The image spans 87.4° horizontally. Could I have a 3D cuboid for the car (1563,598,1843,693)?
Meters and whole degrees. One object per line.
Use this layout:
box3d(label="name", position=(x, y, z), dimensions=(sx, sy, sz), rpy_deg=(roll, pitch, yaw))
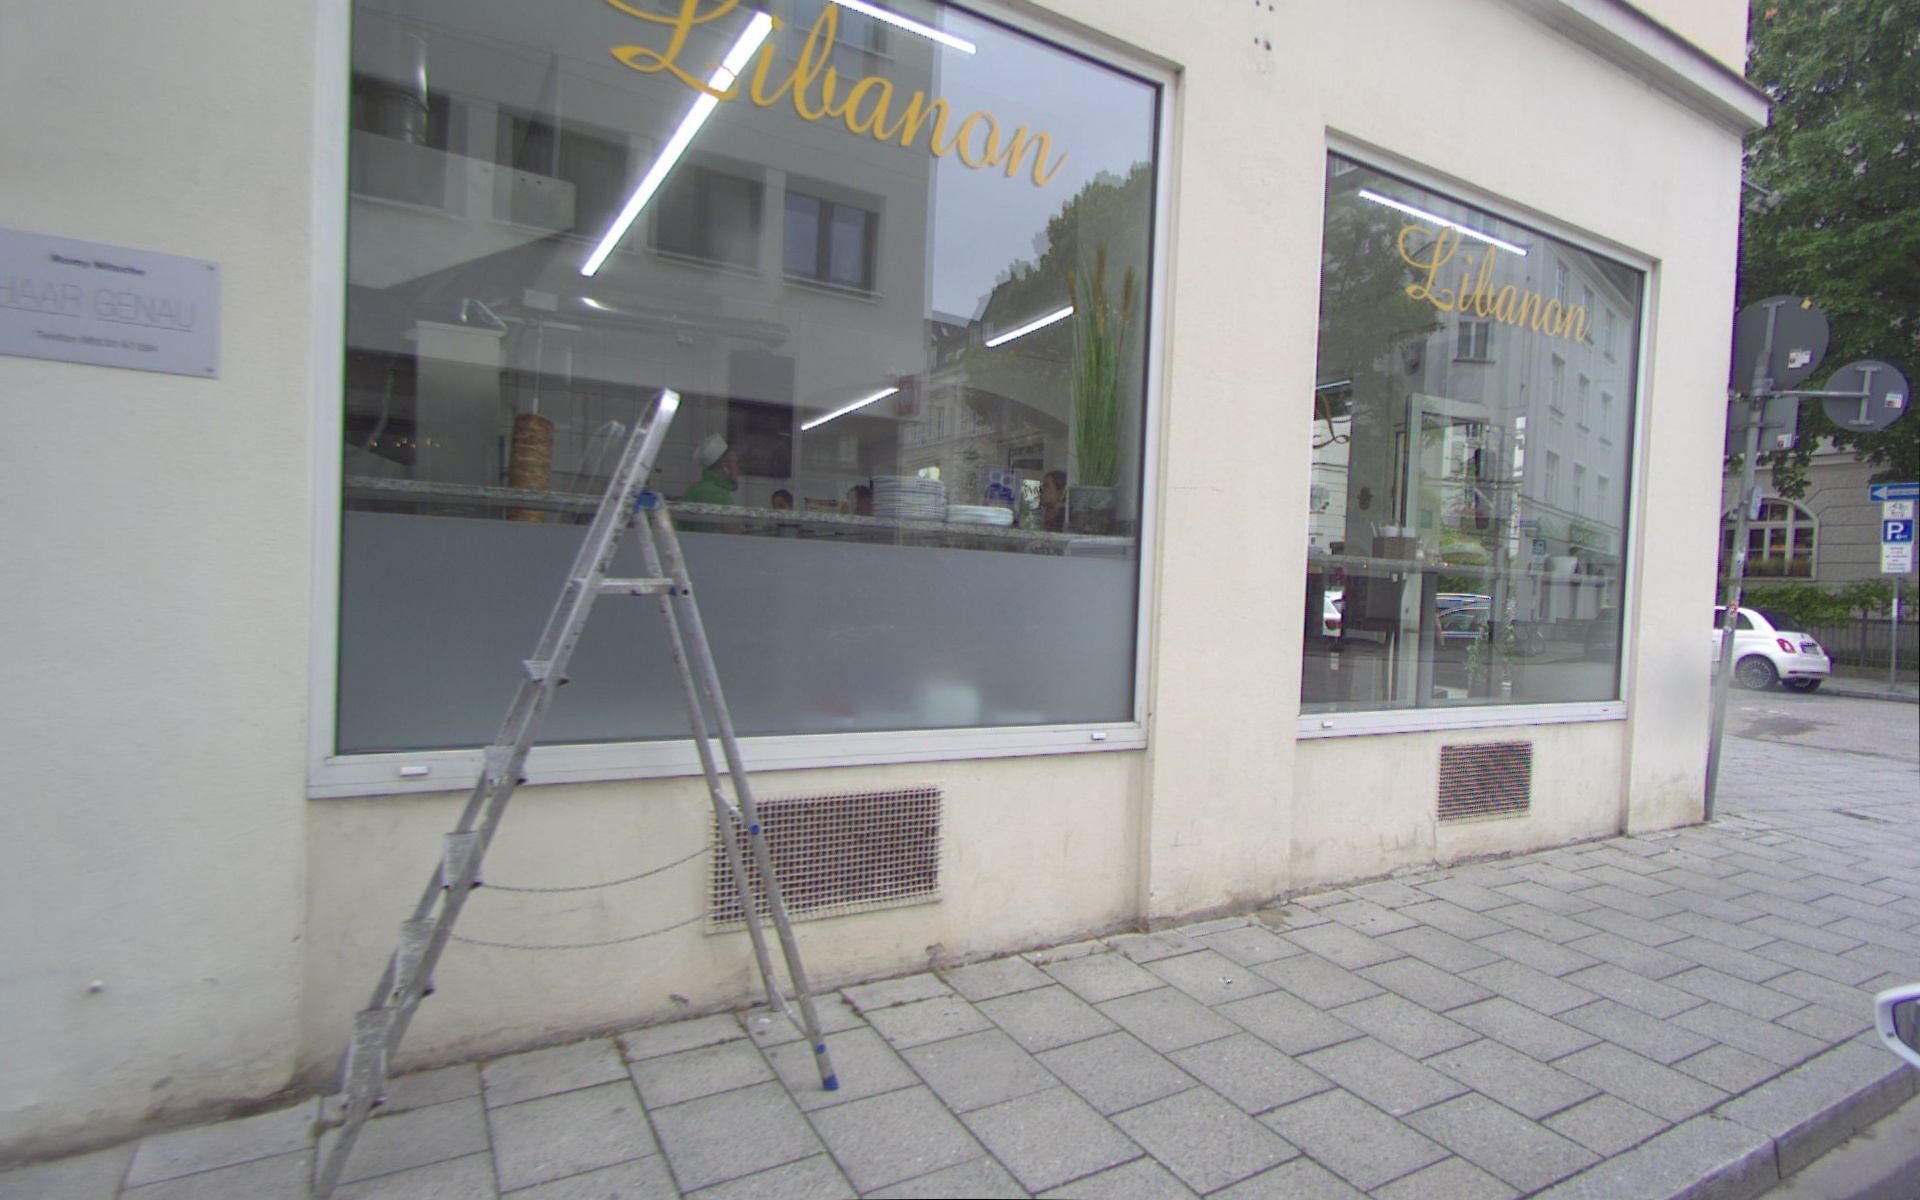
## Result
box3d(label="car", position=(14.036, 0.792, 19.251), dimensions=(1.662, 1.468, 3.975), rpy_deg=(2, 2, -24))

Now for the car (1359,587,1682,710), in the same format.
box3d(label="car", position=(8.954, 0.656, 16.474), dimensions=(1.879, 1.537, 4.316), rpy_deg=(-3, 4, -27))

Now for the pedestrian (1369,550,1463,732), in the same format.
box3d(label="pedestrian", position=(4.367, 0.370, 9.625), dimensions=(0.534, 1.664, 0.598), rpy_deg=(1, 2, -42))

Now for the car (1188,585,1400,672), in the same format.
box3d(label="car", position=(6.853, 0.491, 21.074), dimensions=(1.662, 1.528, 4.232), rpy_deg=(-1, 2, -28))
